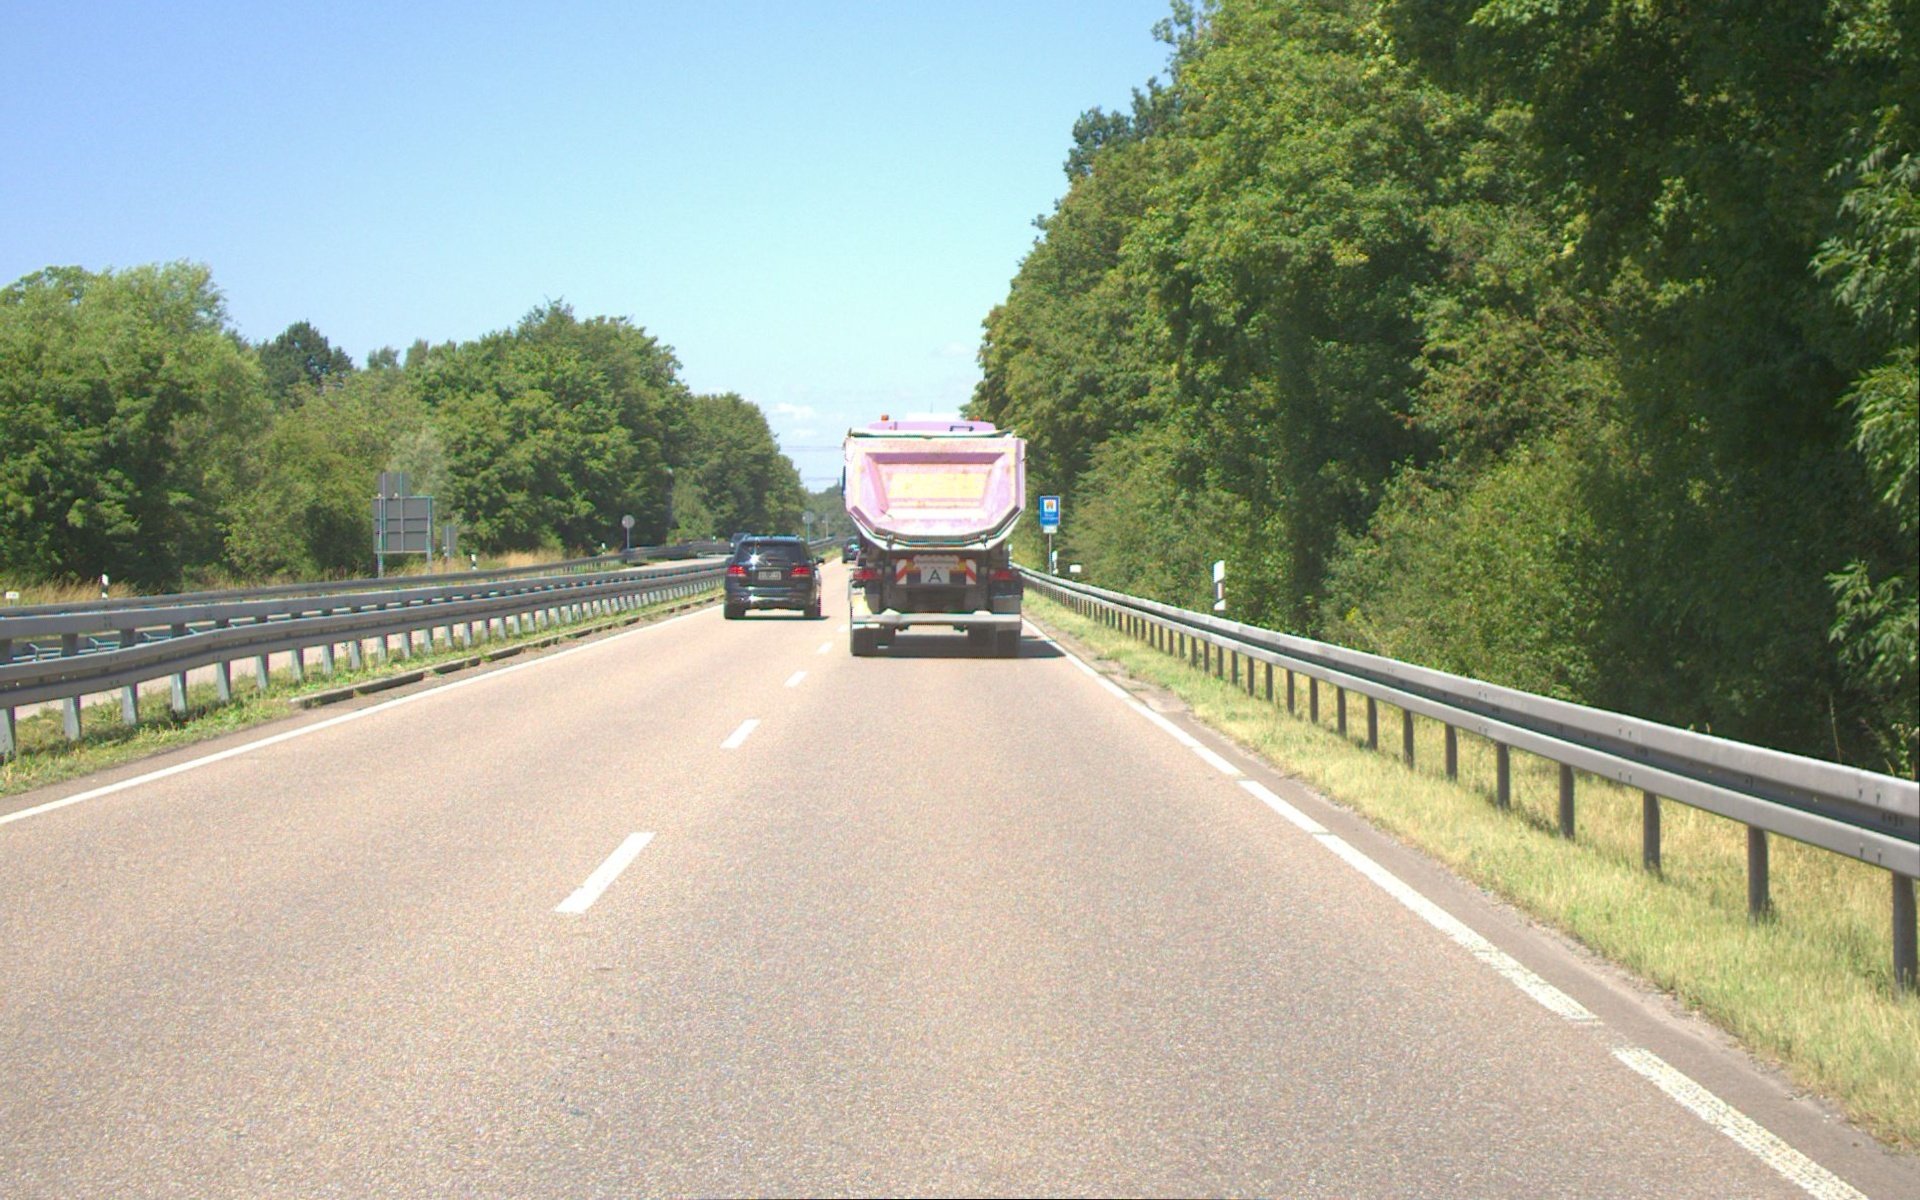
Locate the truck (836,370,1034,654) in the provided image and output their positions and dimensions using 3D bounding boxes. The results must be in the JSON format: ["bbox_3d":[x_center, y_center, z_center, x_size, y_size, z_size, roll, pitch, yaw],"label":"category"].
[{"bbox_3d":[-0.491,-1.361,53.695,2.720,3.916,12.371,0,1,-1],"label":"truck"}]

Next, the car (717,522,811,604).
[{"bbox_3d":[-4.121,-0.753,72.878,1.857,1.665,4.000,0,0,-2],"label":"car"}]

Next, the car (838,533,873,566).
[{"bbox_3d":[-5.644,-2.736,186.100,1.857,1.712,4.000,0,0,-2],"label":"car"}]
